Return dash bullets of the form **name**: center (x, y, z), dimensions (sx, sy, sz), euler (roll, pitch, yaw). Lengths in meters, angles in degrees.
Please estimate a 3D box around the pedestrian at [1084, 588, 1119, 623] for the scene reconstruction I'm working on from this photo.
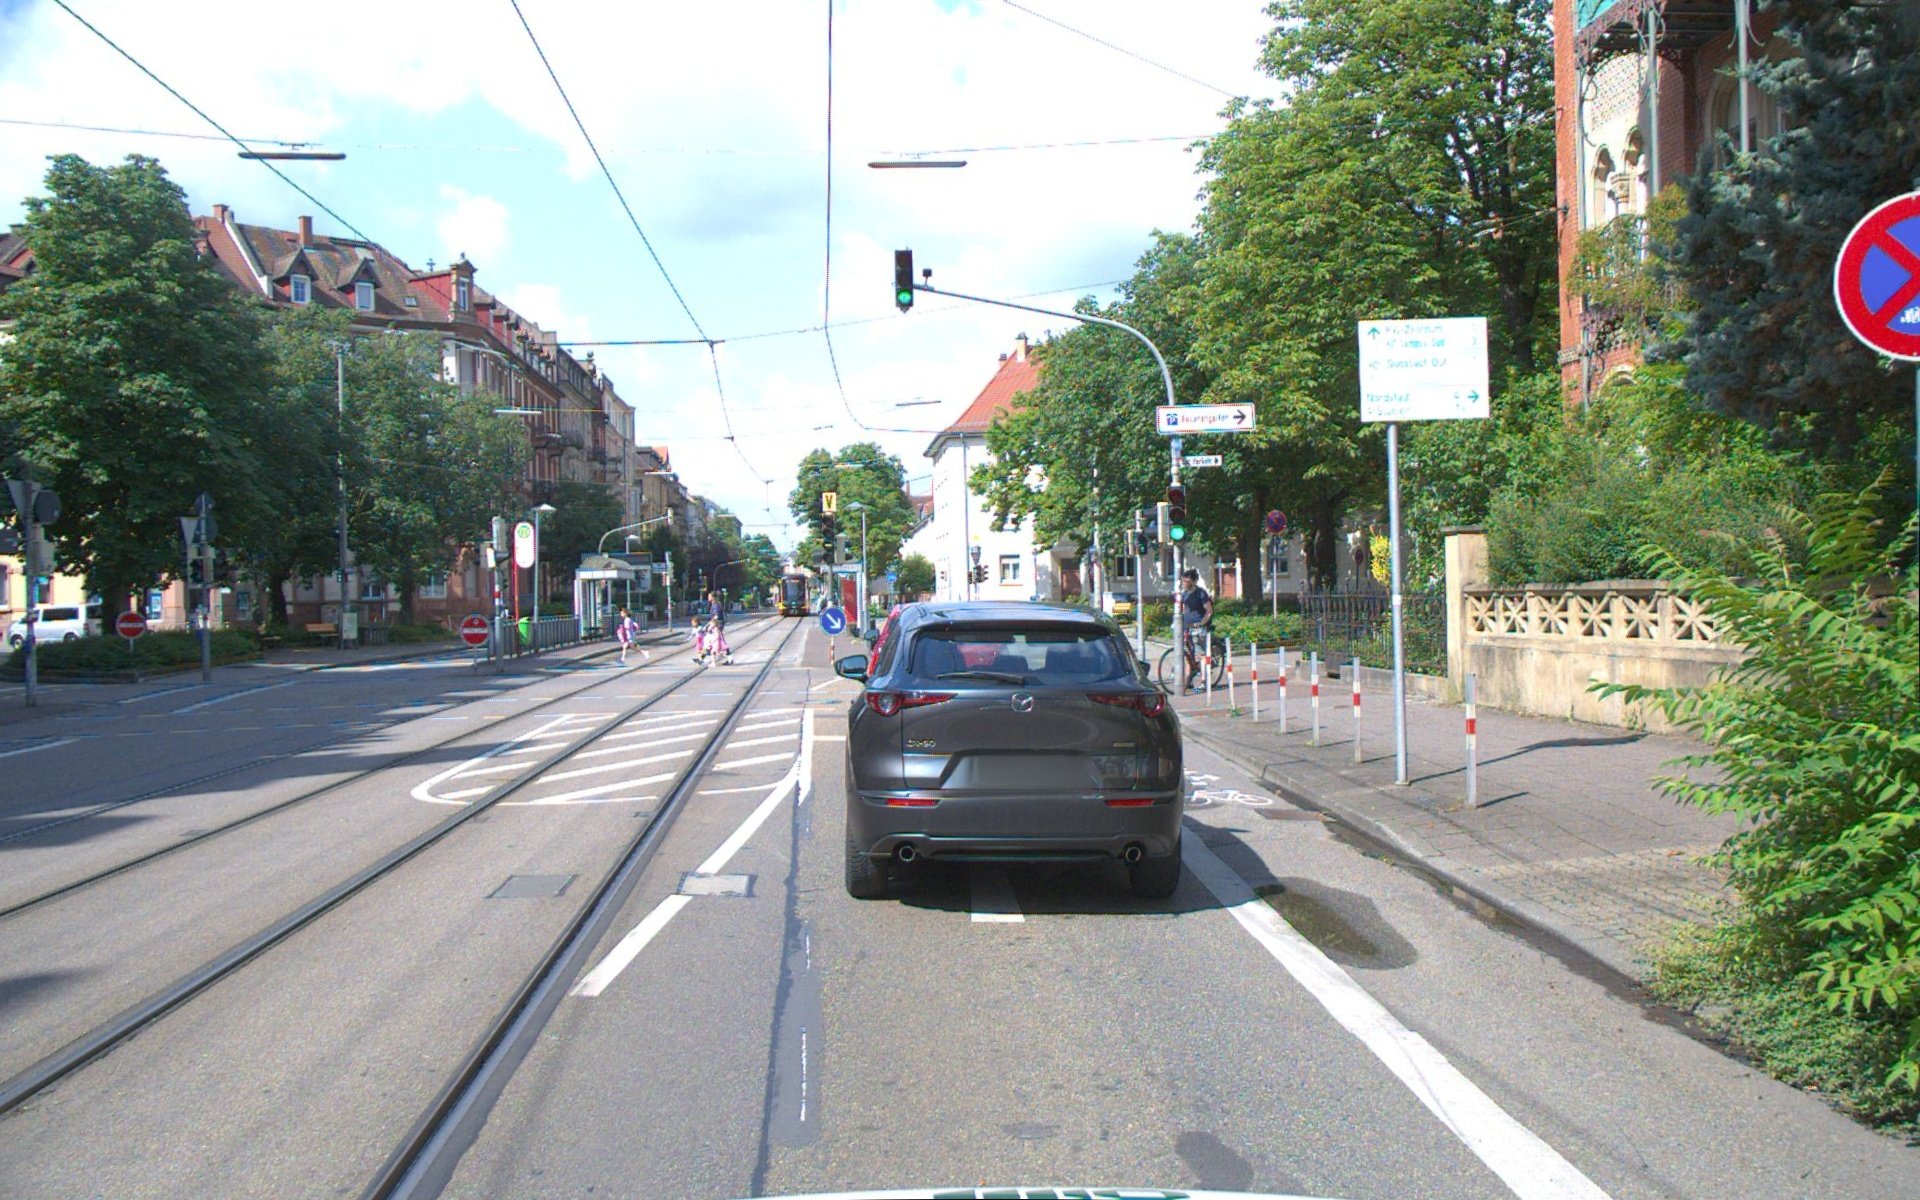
- **pedestrian**: center (5.492, 0.221, 64.249), dimensions (1.170, 1.291, 0.556), euler (-4, 0, -10)

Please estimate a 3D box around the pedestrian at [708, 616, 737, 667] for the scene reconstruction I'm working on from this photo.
- **pedestrian**: center (-5.438, 0.942, 37.893), dimensions (0.629, 1.133, 0.443), euler (-1, 0, -10)

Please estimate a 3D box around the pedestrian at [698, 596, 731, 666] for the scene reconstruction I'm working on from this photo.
- **pedestrian**: center (-5.712, 0.706, 38.488), dimensions (0.714, 1.593, 0.797), euler (-1, 0, -9)

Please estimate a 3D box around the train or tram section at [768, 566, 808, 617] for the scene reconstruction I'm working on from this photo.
- **train or tram section**: center (-14.777, -0.656, 142.946), dimensions (2.939, 4.053, 13.796), euler (-1, -1, -4)

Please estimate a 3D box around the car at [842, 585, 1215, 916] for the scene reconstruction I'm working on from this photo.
- **car**: center (0.304, 0.722, 9.820), dimensions (1.746, 1.540, 3.999), euler (1, 0, -1)

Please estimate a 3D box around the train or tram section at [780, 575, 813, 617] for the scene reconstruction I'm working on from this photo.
- **train or tram section**: center (-16.754, -0.321, 170.433), dimensions (2.939, 4.053, 13.796), euler (-1, -1, -4)

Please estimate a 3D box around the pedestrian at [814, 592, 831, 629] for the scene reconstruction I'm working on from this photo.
- **pedestrian**: center (-6.545, 0.501, 78.453), dimensions (0.756, 1.704, 0.667), euler (-1, 0, -6)

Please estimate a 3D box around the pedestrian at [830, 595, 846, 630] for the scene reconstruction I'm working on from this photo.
- **pedestrian**: center (-5.613, 0.569, 76.053), dimensions (0.654, 1.573, 0.580), euler (-1, 0, -6)

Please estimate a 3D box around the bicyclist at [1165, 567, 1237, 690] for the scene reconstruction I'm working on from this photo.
- **bicyclist**: center (3.711, 0.430, 25.470), dimensions (0.724, 1.851, 0.813), euler (-1, 0, -27)

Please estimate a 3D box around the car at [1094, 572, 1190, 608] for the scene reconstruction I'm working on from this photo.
- **car**: center (8.516, -0.473, 77.619), dimensions (4.090, 1.536, 1.844), euler (-1, 2, 38)

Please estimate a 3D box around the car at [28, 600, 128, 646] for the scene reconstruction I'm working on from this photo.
- **car**: center (-40.179, 1.038, 75.342), dimensions (3.853, 2.023, 1.857), euler (-1, 0, 19)

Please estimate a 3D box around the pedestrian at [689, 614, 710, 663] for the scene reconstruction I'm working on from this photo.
- **pedestrian**: center (-6.162, 0.916, 39.122), dimensions (0.429, 1.127, 0.422), euler (-3, 0, -9)

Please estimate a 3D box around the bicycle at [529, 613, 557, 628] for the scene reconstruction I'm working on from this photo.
- **bicycle**: center (-23.283, 1.139, 92.401), dimensions (0.378, 0.760, 1.707), euler (-1, 0, 31)

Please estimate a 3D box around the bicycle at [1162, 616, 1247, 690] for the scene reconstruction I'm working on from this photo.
- **bicycle**: center (3.799, 0.804, 25.606), dimensions (0.382, 1.053, 1.836), euler (-2, 1, 39)

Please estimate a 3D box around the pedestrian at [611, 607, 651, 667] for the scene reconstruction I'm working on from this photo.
- **pedestrian**: center (-7.696, 0.855, 38.689), dimensions (0.810, 1.326, 0.716), euler (-3, 0, -10)

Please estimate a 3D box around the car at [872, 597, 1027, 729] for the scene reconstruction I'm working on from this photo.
- **car**: center (-0.163, 0.709, 20.556), dimensions (1.739, 1.489, 3.841), euler (0, 0, -1)
